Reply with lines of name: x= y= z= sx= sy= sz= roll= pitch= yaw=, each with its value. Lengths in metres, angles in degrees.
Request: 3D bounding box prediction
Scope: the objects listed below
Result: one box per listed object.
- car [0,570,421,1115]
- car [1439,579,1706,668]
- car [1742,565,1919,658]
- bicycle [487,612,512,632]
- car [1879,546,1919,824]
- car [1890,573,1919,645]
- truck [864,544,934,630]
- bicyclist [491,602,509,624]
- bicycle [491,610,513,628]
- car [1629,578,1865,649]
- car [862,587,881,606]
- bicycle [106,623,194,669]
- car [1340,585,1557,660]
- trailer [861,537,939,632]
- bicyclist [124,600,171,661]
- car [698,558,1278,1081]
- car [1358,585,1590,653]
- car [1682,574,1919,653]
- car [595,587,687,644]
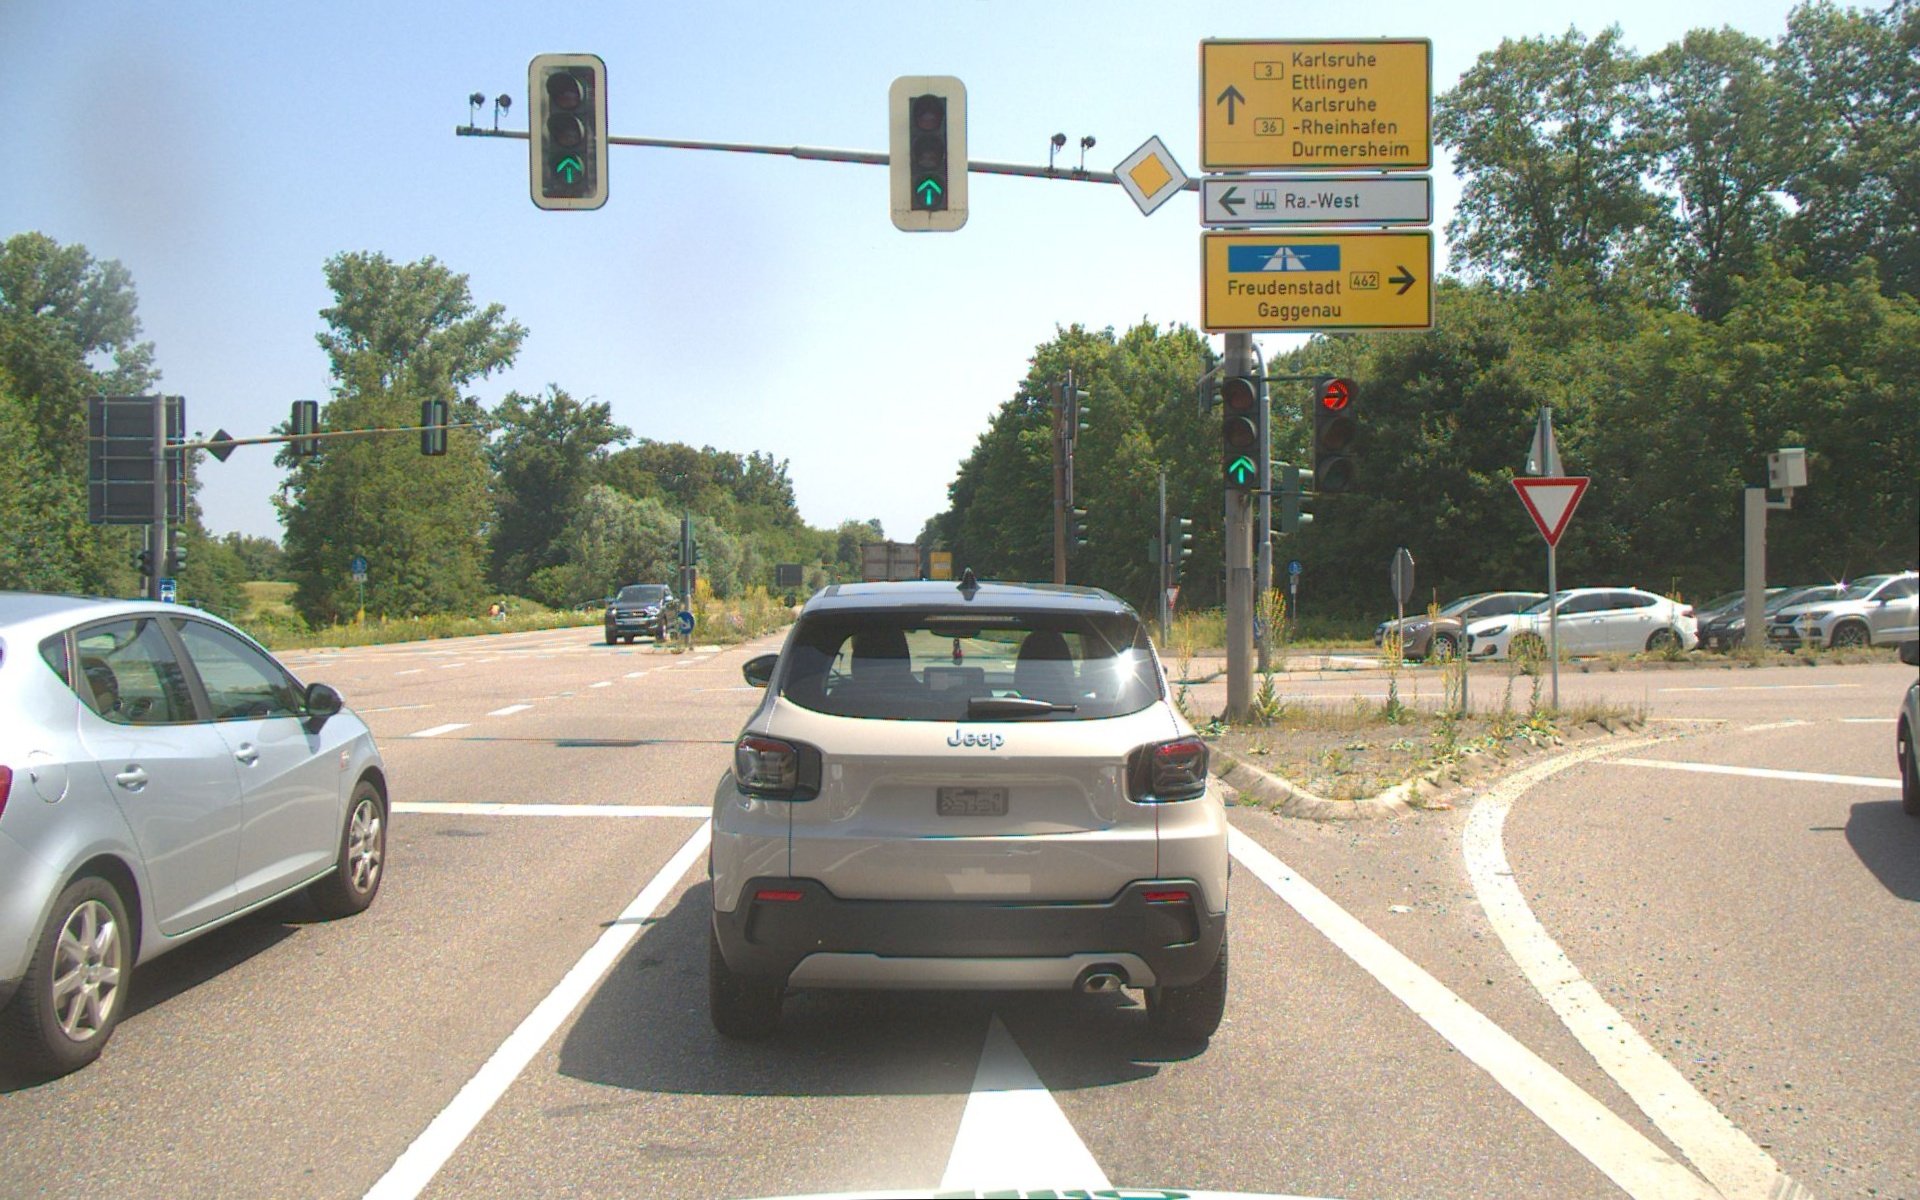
car: x=-3.388 y=0.625 z=6.002 sx=1.632 sy=1.455 sz=3.827 roll=1 pitch=0 yaw=-1
car: x=11.590 y=0.419 z=31.495 sx=4.331 sy=1.562 sz=1.999 roll=-1 pitch=0 yaw=-3
car: x=17.652 y=0.192 z=31.985 sx=4.088 sy=1.688 sz=1.999 roll=-1 pitch=0 yaw=-2
bicycle: x=-25.768 y=1.234 z=92.593 sx=0.661 sy=1.022 sz=1.802 roll=-1 pitch=0 yaw=8
car: x=6.827 y=0.550 z=9.914 sx=1.720 sy=1.804 sz=4.113 roll=-1 pitch=0 yaw=21
car: x=23.319 y=0.144 z=35.941 sx=5.025 sy=1.560 sz=2.137 roll=-1 pitch=-1 yaw=-2
truck: x=-3.137 y=-0.619 z=82.815 sx=3.267 sy=4.058 sz=6.528 roll=1 pitch=0 yaw=-4
bicyclist: x=-25.777 y=0.714 z=92.681 sx=0.741 sy=1.216 sz=0.592 roll=-1 pitch=0 yaw=9
bicycle: x=-26.637 y=1.121 z=96.146 sx=0.591 sy=1.023 sz=1.557 roll=-1 pitch=0 yaw=9
car: x=18.391 y=0.317 z=38.783 sx=4.523 sy=1.525 sz=2.111 roll=-1 pitch=-1 yaw=-2
car: x=-9.758 y=-0.393 z=182.839 sx=1.954 sy=2.049 sz=4.551 roll=-1 pitch=0 yaw=-3
bicycle: x=-20.262 y=1.144 z=41.397 sx=0.710 sy=1.082 sz=1.863 roll=-1 pitch=0 yaw=35
car: x=10.380 y=0.462 z=35.334 sx=4.011 sy=1.472 sz=1.994 roll=-1 pitch=0 yaw=-4
trailer: x=-2.842 y=-0.643 z=76.777 sx=3.315 sy=4.058 sz=10.797 roll=1 pitch=0 yaw=-3
bicyclist: x=-20.332 y=0.760 z=41.402 sx=0.908 sy=1.485 sz=0.713 roll=-1 pitch=0 yaw=36
car: x=0.060 y=0.653 z=6.963 sx=1.731 sy=1.561 sz=3.999 roll=0 pitch=0 yaw=-1
car: x=12.039 y=0.449 z=38.975 sx=4.831 sy=1.525 sz=2.020 roll=-1 pitch=-1 yaw=-1
car: x=17.939 y=0.281 z=35.060 sx=4.330 sy=1.562 sz=2.121 roll=-1 pitch=-1 yaw=-2
car: x=-10.172 y=0.460 z=53.113 sx=1.953 sy=1.707 sz=5.364 roll=-2 pitch=0 yaw=-1
